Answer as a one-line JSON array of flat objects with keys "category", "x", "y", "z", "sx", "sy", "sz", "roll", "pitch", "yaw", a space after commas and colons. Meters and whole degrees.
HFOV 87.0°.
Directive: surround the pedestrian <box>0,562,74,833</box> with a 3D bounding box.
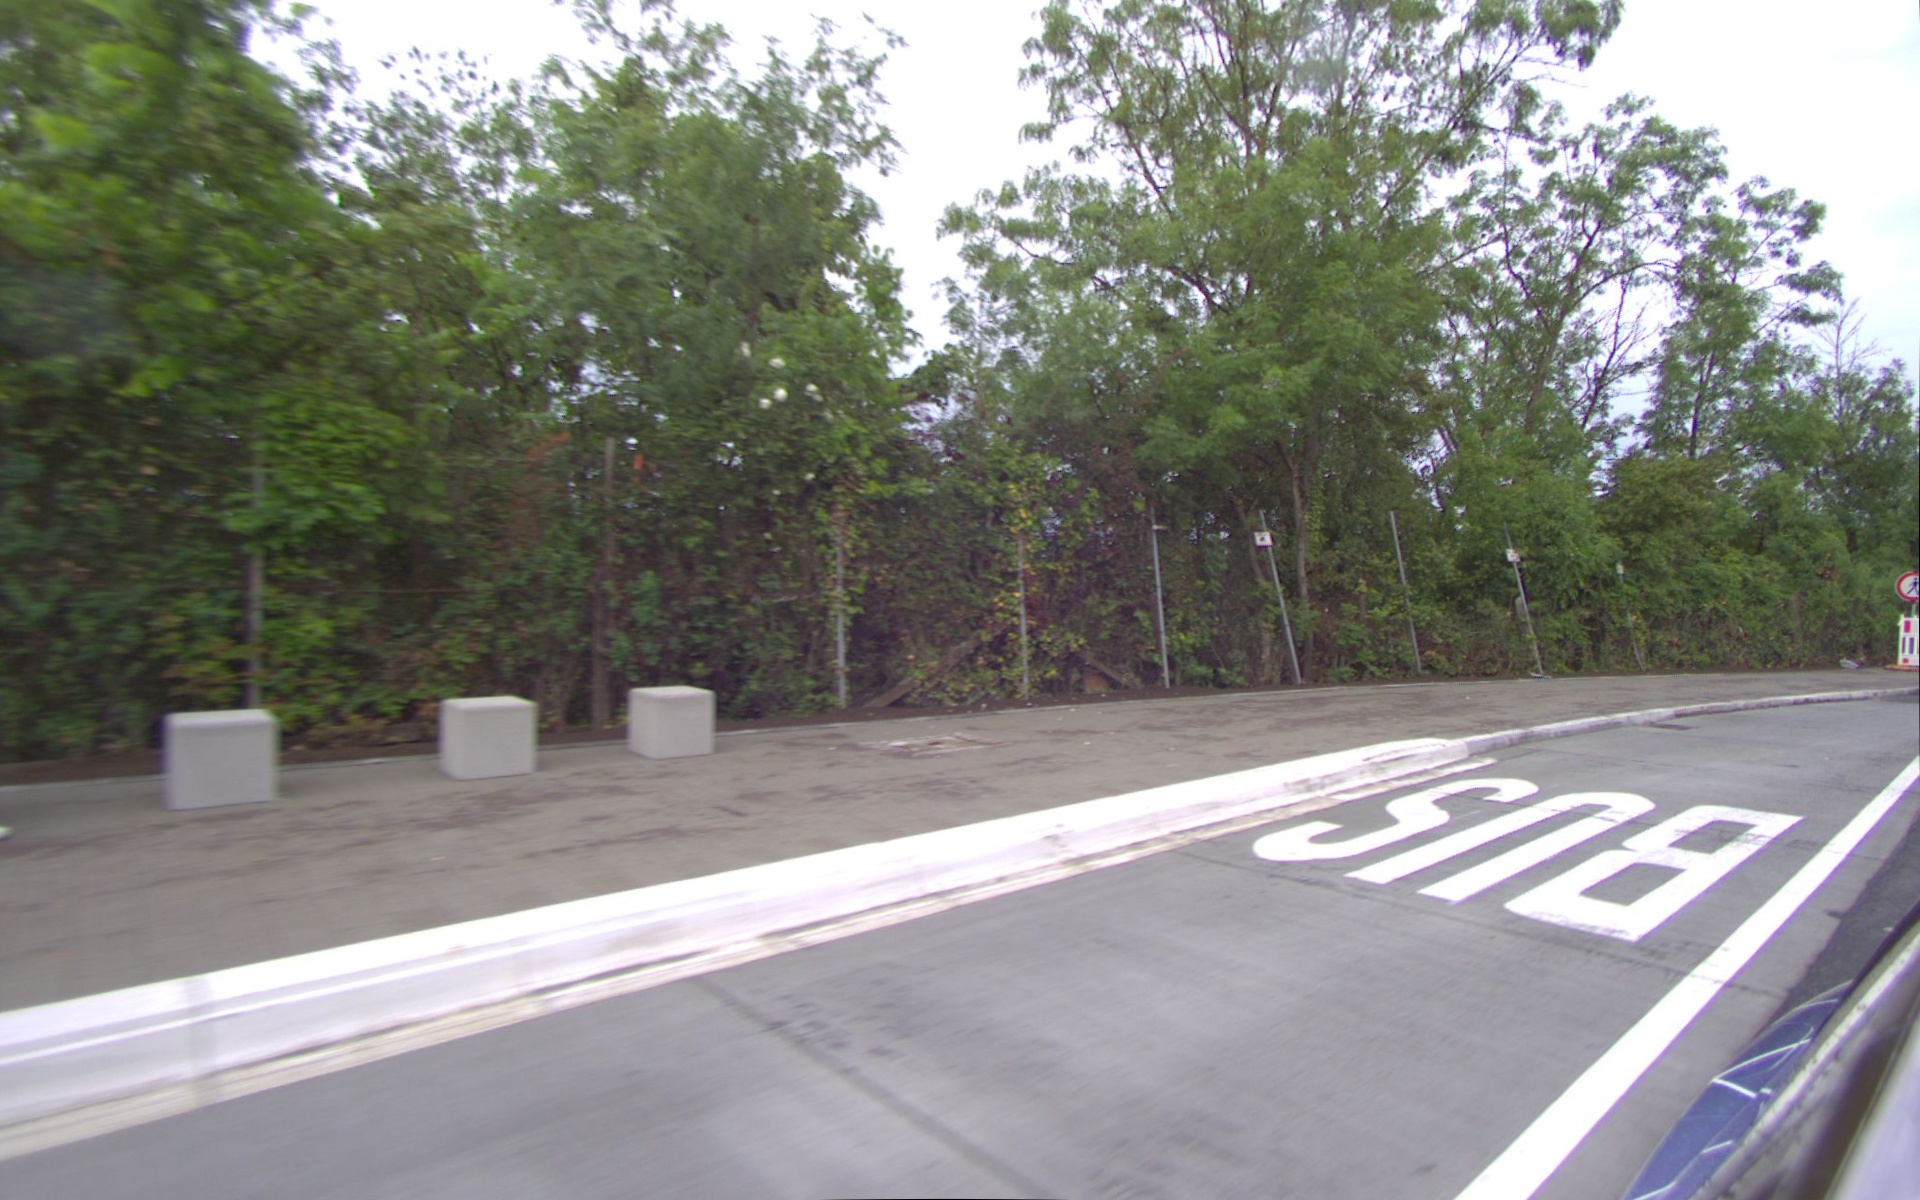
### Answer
[{"category": "pedestrian", "x": -5.282, "y": 0.481, "z": 5.076, "sx": 1.052, "sy": 1.346, "sz": 0.807, "roll": 0, "pitch": 1, "yaw": 13}]
